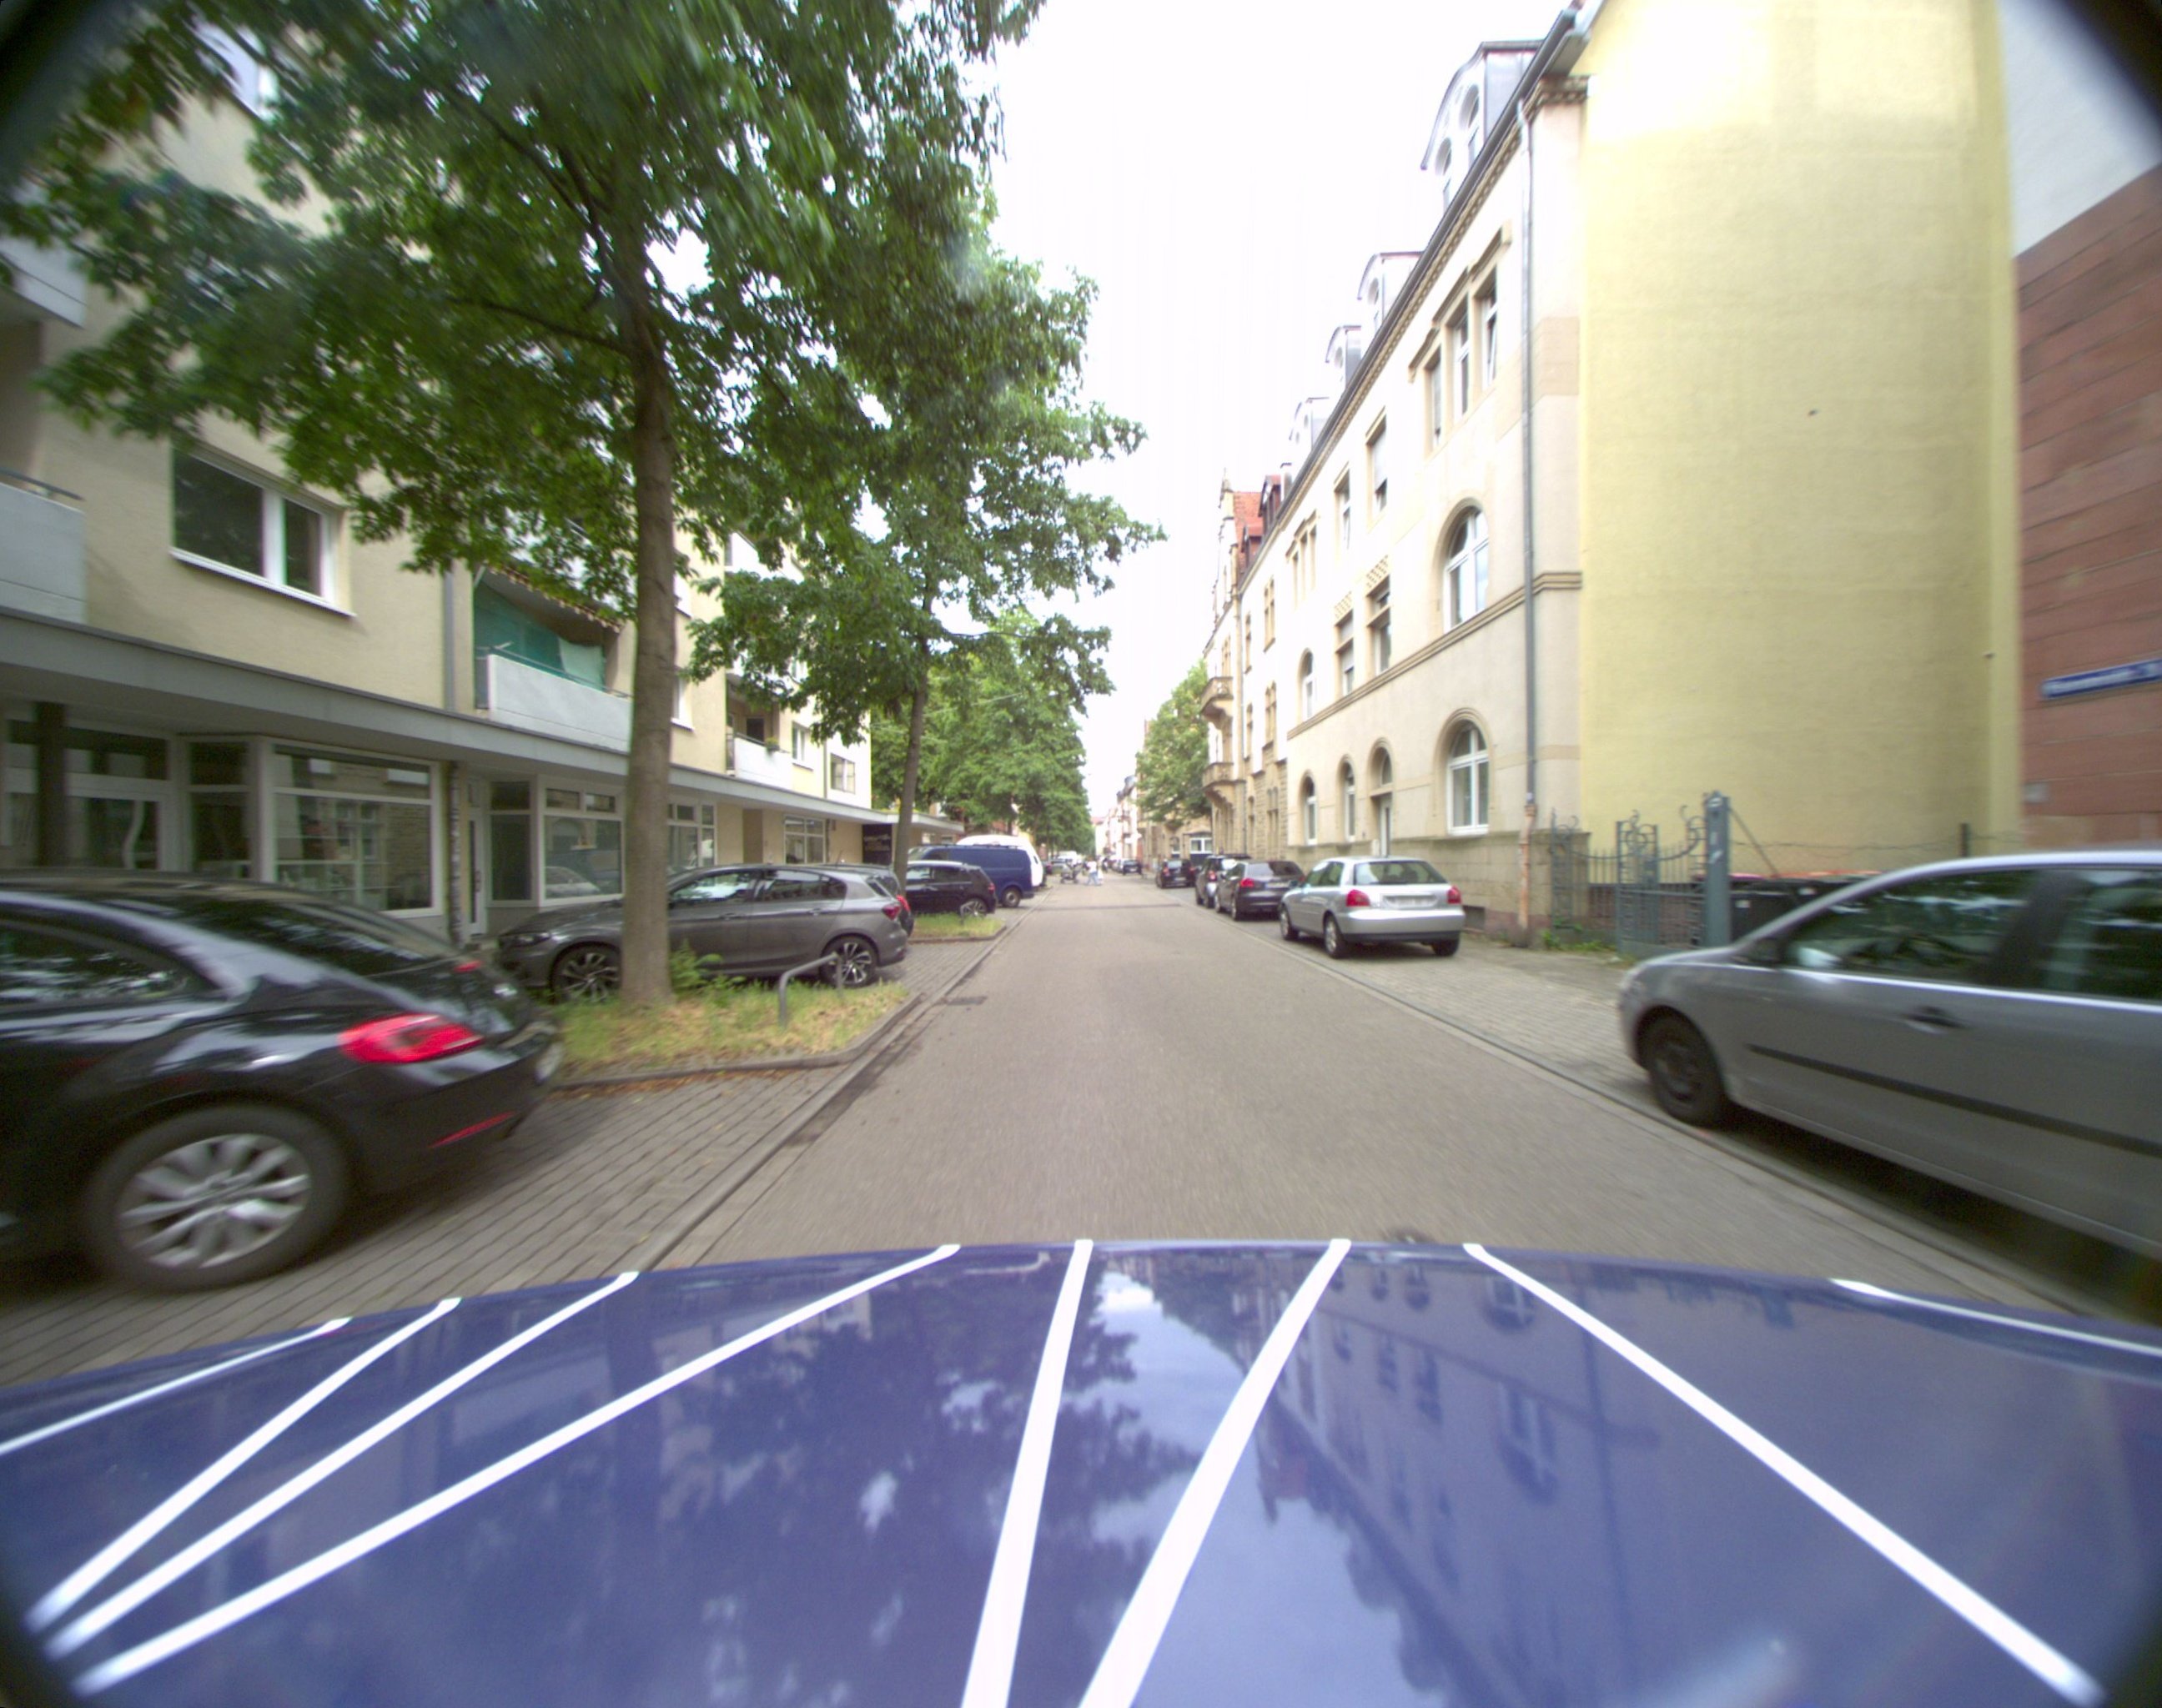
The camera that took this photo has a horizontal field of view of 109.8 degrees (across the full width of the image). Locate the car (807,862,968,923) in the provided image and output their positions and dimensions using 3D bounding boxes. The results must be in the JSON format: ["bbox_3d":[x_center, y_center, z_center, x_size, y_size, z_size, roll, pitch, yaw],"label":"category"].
[{"bbox_3d":[-5.174,0.967,20.268,3.919,1.457,1.821,0,0,-24],"label":"car"}]

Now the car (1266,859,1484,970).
[{"bbox_3d":[4.287,0.788,11.831,1.730,1.378,4.136,-1,0,-1],"label":"car"}]

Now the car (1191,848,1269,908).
[{"bbox_3d":[4.384,0.694,22.752,1.650,1.561,2.957,-4,-1,0],"label":"car"}]

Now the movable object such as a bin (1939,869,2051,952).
[{"bbox_3d":[12.196,0.734,10.160,0.615,1.049,0.730,-2,0,0],"label":"movable object such as a bin"}]

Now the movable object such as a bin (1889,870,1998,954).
[{"bbox_3d":[11.507,0.758,10.161,0.615,1.049,0.730,-2,0,0],"label":"movable object such as a bin"}]

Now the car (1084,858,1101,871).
[{"bbox_3d":[1.292,1.221,85.780,1.712,1.404,3.855,-1,-2,4],"label":"car"}]

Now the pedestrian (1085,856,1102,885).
[{"bbox_3d":[0.686,0.927,41.890,0.630,1.584,0.671,-1,0,42],"label":"pedestrian"}]

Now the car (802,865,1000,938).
[{"bbox_3d":[-4.169,1.023,17.757,4.120,1.434,1.848,0,0,-31],"label":"car"}]

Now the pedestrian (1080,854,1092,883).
[{"bbox_3d":[0.294,0.839,43.669,0.528,1.634,0.529,-2,0,11],"label":"pedestrian"}]

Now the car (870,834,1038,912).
[{"bbox_3d":[-3.888,0.595,23.680,4.716,2.183,2.061,2,-1,-37],"label":"car"}]

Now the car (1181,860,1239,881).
[{"bbox_3d":[9.808,1.277,58.104,4.279,1.459,1.662,0,4,7],"label":"car"}]

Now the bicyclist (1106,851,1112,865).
[{"bbox_3d":[2.968,0.421,80.439,0.649,1.529,0.677,0,1,3],"label":"bicyclist"}]

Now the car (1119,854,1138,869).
[{"bbox_3d":[4.894,0.756,78.317,1.593,1.425,3.809,-2,0,-1],"label":"car"}]

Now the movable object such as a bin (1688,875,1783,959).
[{"bbox_3d":[8.719,0.826,10.148,0.615,1.049,0.730,-2,0,0],"label":"movable object such as a bin"}]

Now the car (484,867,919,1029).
[{"bbox_3d":[-4.332,0.942,9.155,4.234,1.492,1.971,1,1,-29],"label":"car"}]

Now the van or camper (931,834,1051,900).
[{"bbox_3d":[-3.789,0.489,32.327,4.604,2.581,1.906,-2,0,-32],"label":"van or camper"}]

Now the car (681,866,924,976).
[{"bbox_3d":[-4.374,0.961,12.143,3.374,1.488,1.848,0,0,-22],"label":"car"}]

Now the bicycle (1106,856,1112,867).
[{"bbox_3d":[2.962,0.797,80.399,0.635,1.087,1.800,0,-1,3],"label":"bicycle"}]

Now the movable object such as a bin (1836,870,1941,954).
[{"bbox_3d":[10.750,0.752,10.138,0.615,1.049,0.730,-2,0,0],"label":"movable object such as a bin"}]

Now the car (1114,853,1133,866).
[{"bbox_3d":[4.907,0.639,88.294,1.671,1.502,3.552,-2,0,-4],"label":"car"}]

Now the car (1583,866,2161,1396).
[{"bbox_3d":[3.914,0.811,2.733,1.666,1.412,3.929,-2,0,2],"label":"car"}]

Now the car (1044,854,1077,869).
[{"bbox_3d":[-2.659,0.989,100.208,3.993,1.801,1.722,-2,0,12],"label":"car"}]

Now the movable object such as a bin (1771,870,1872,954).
[{"bbox_3d":[9.871,0.759,10.154,0.615,1.049,0.730,-2,0,0],"label":"movable object such as a bin"}]

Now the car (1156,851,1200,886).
[{"bbox_3d":[4.686,0.678,37.208,1.713,1.486,4.000,-4,0,2],"label":"car"}]

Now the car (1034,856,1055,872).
[{"bbox_3d":[-3.588,0.982,75.095,1.768,1.477,4.479,1,0,1],"label":"car"}]

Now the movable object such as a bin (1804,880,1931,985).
[{"bbox_3d":[8.532,0.829,8.275,0.615,1.049,0.730,-2,0,0],"label":"movable object such as a bin"}]

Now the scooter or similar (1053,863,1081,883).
[{"bbox_3d":[-0.805,1.075,43.917,1.471,1.098,0.676,1,1,12],"label":"scooter or similar"}]

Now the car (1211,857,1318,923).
[{"bbox_3d":[4.320,0.796,18.479,1.730,1.378,3.930,-2,0,2],"label":"car"}]

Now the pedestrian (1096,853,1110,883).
[{"bbox_3d":[1.223,0.783,42.607,0.617,1.634,0.604,-1,0,13],"label":"pedestrian"}]

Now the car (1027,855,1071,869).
[{"bbox_3d":[-3.453,0.883,82.109,4.453,1.419,1.754,1,0,-33],"label":"car"}]

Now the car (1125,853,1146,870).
[{"bbox_3d":[4.914,0.692,68.421,1.731,1.425,3.882,-2,0,3],"label":"car"}]

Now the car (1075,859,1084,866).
[{"bbox_3d":[-0.426,2.032,182.453,1.998,1.739,4.001,-1,0,3],"label":"car"}]

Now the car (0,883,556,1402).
[{"bbox_3d":[-4.505,0.909,2.744,4.058,1.475,1.943,0,1,-27],"label":"car"}]
